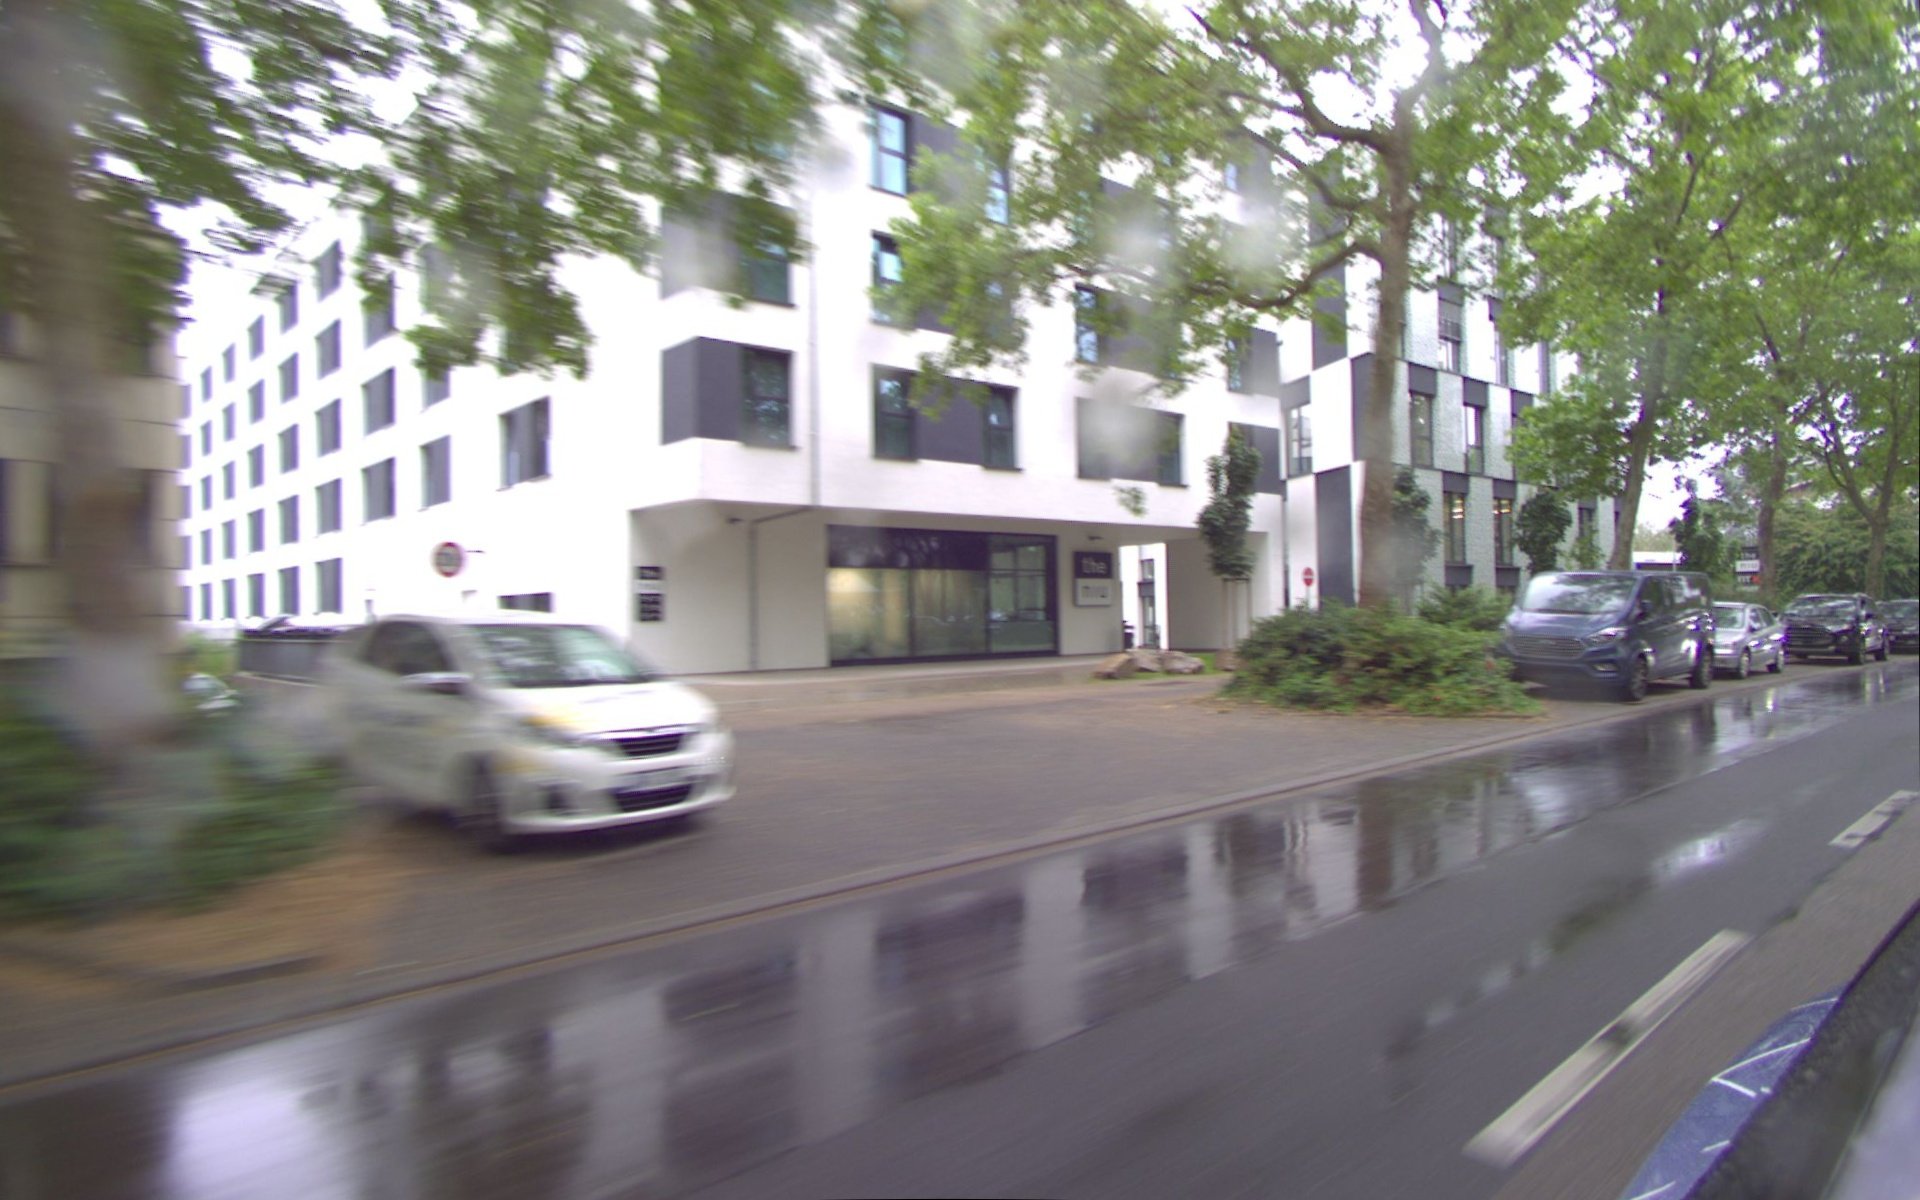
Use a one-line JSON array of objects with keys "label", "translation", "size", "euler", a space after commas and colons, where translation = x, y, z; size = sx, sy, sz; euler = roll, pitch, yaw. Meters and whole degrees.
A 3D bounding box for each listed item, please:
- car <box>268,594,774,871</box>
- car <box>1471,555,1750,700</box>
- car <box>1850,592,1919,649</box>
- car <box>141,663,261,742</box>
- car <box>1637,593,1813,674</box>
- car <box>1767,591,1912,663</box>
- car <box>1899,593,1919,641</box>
[{"label": "car", "translation": [-3.259, 0.736, 7.340], "size": [3.622, 1.524, 1.727], "euler": [0, -1, 35]}, {"label": "car", "translation": [10.923, 0.385, 16.832], "size": [5.425, 2.054, 2.127], "euler": [0, 0, -37]}, {"label": "car", "translation": [26.629, 0.526, 28.209], "size": [4.004, 1.495, 1.749], "euler": [0, 0, -34]}, {"label": "car", "translation": [-17.993, 2.382, 23.913], "size": [1.721, 1.537, 4.293], "euler": [-3, -2, -44]}, {"label": "car", "translation": [15.581, 0.613, 20.550], "size": [4.226, 1.488, 1.748], "euler": [0, 0, -37]}, {"label": "car", "translation": [21.086, 0.591, 24.219], "size": [4.290, 1.586, 1.748], "euler": [0, 0, -37]}, {"label": "car", "translation": [31.463, 0.492, 31.865], "size": [5.007, 1.446, 1.749], "euler": [0, 0, -35]}]
